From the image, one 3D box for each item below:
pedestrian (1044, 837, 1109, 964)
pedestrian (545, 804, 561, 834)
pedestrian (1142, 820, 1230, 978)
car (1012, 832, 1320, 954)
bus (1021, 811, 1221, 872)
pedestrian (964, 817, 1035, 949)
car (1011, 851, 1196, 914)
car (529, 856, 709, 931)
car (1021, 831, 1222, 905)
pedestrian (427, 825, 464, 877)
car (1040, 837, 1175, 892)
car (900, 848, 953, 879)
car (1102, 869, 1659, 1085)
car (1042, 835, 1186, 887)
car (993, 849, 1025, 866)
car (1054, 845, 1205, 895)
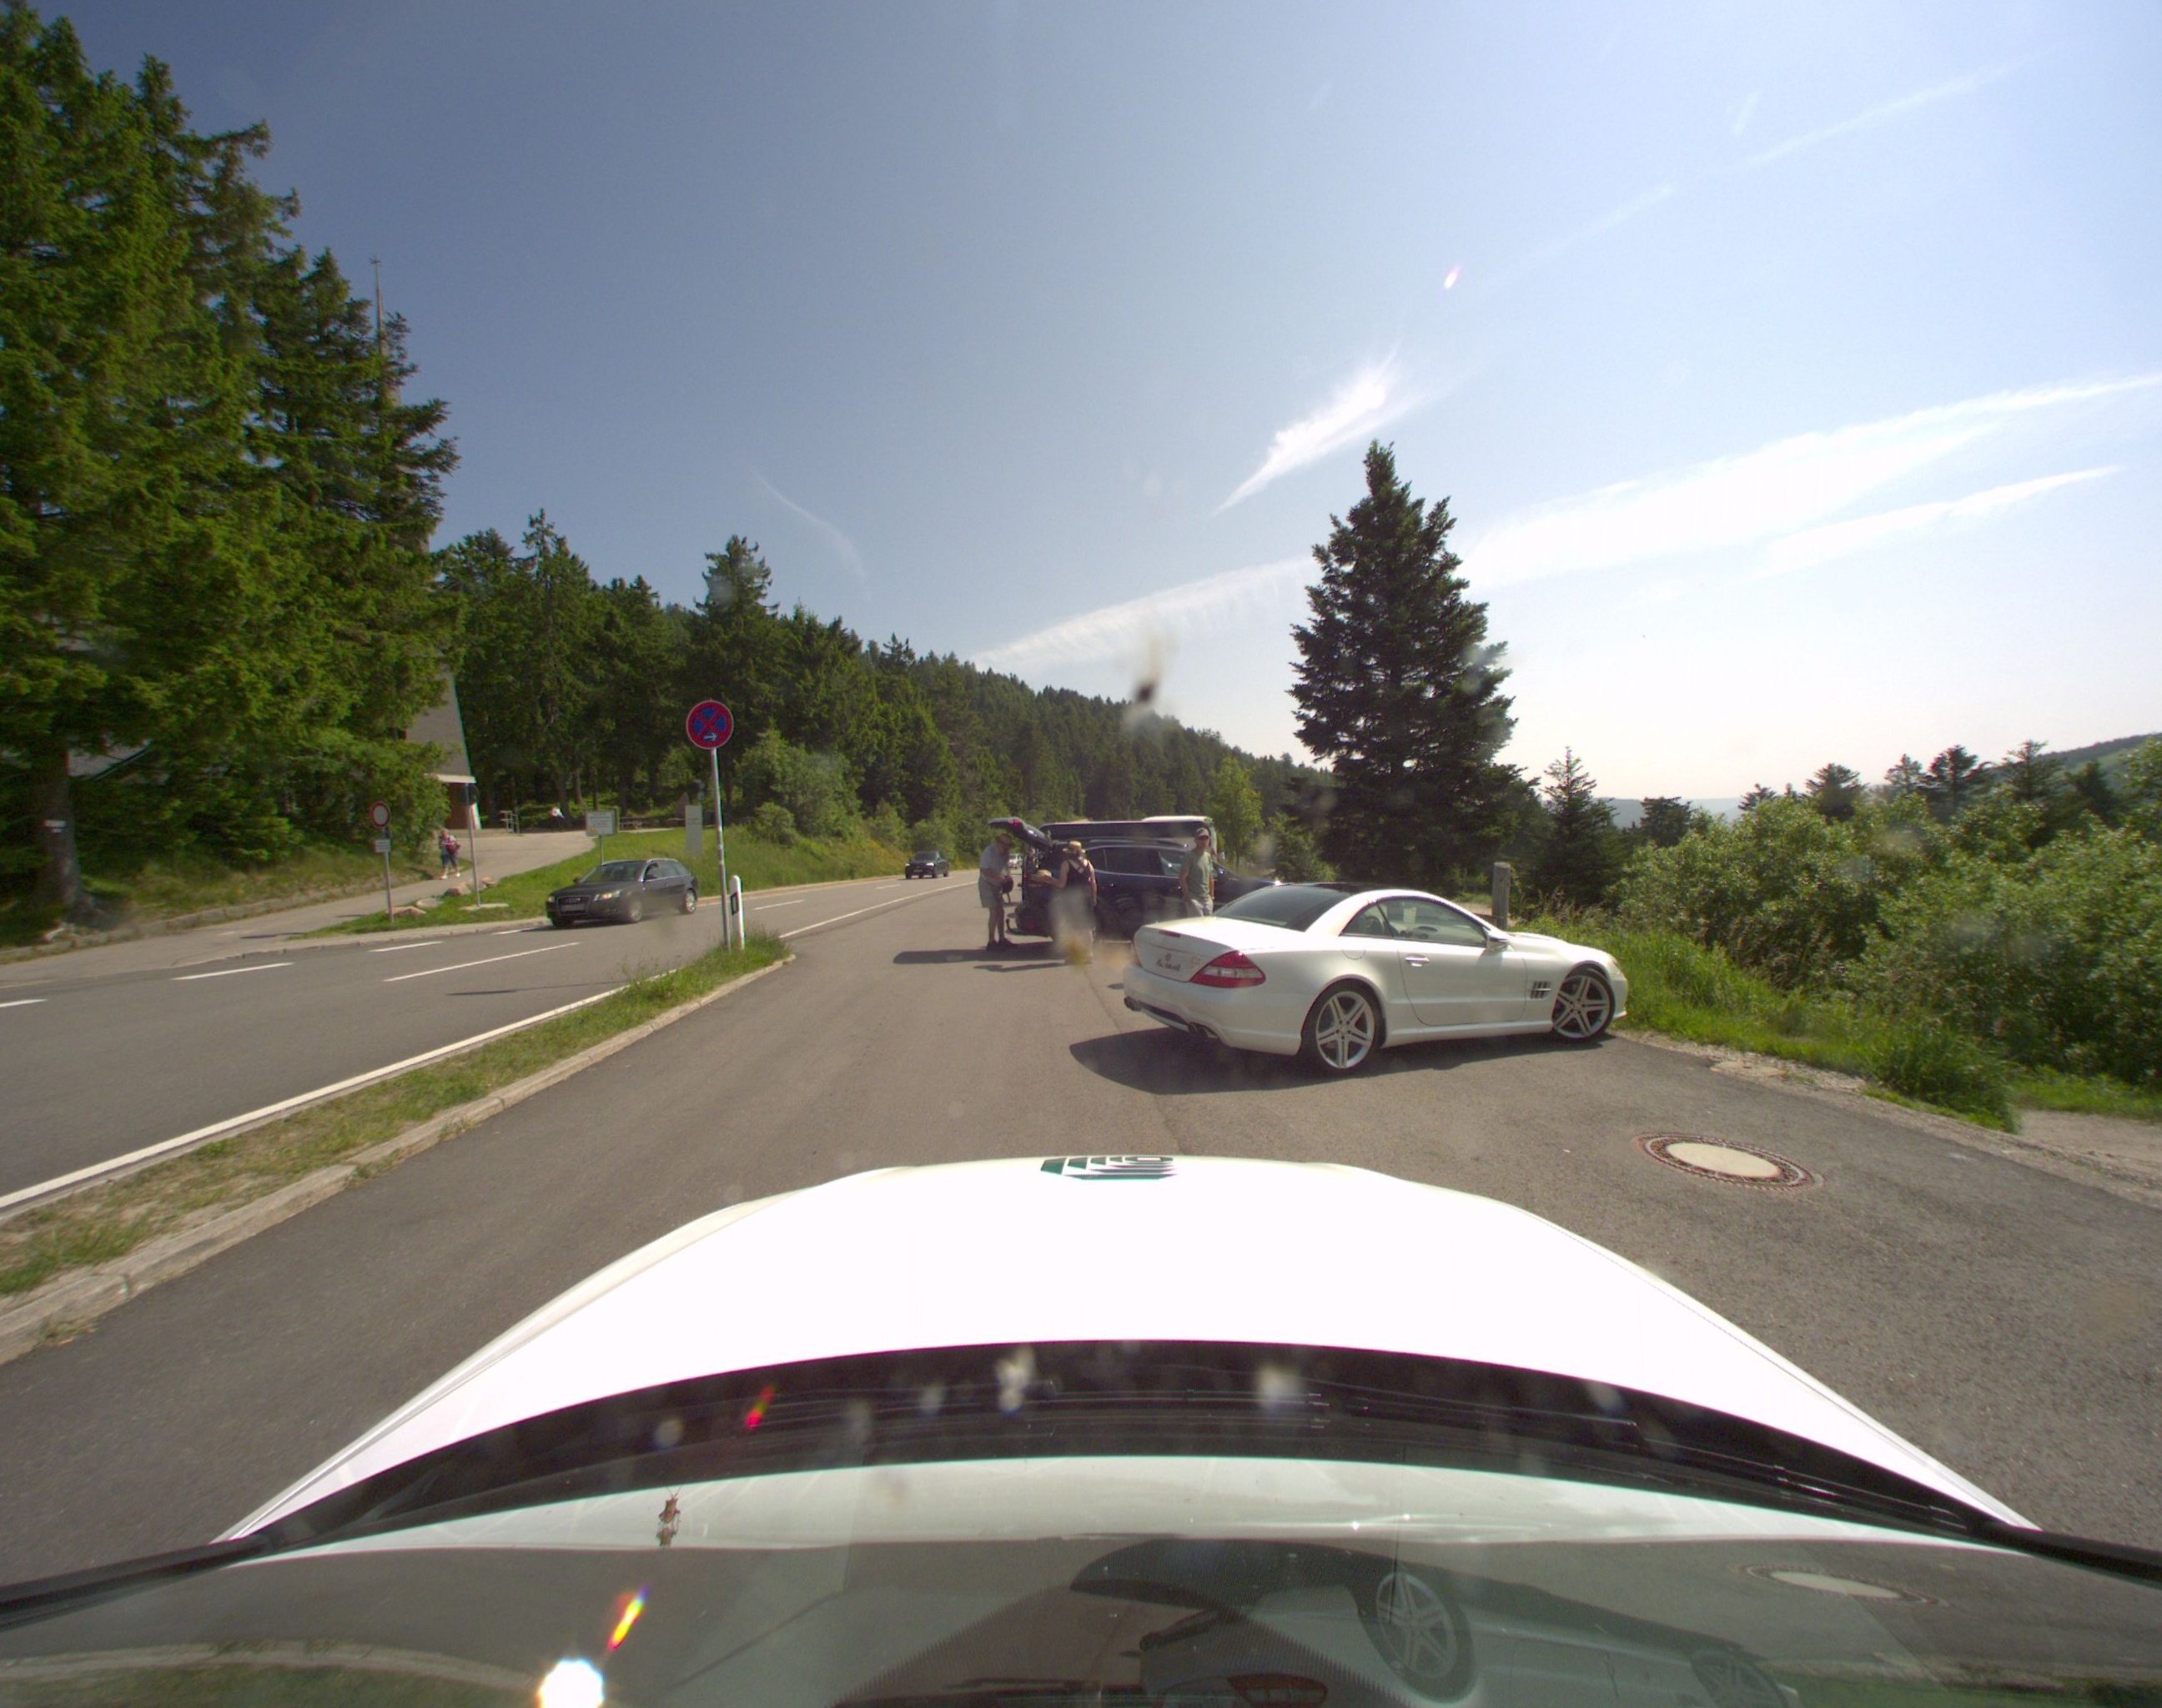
[{"bbox_3d":[-0.062,0.596,10.726,0.716,1.613,0.533,0,-1,-21],"label":"pedestrian"},{"bbox_3d":[-34.435,-2.278,53.121,0.674,1.877,0.545,-3,0,32],"label":"pedestrian"},{"bbox_3d":[1.259,0.519,9.788,0.751,1.800,0.728,0,-1,-33],"label":"pedestrian"},{"bbox_3d":[1.156,0.569,12.341,4.339,1.626,1.866,1,-1,-7],"label":"car"},{"bbox_3d":[2.757,-0.811,54.970,13.015,3.532,3.052,-2,0,9],"label":"bus"},{"bbox_3d":[-1.204,0.393,12.105,0.728,1.870,0.763,1,3,29],"label":"pedestrian"},{"bbox_3d":[0.453,0.626,18.825,4.078,1.376,1.698,0,0,-7],"label":"car"},{"bbox_3d":[-10.717,0.826,19.332,1.701,1.437,4.448,-3,1,-1],"label":"car"},{"bbox_3d":[1.034,0.336,21.149,4.931,1.695,1.946,-2,0,1],"label":"car"},{"bbox_3d":[-21.398,-0.107,27.424,0.722,1.681,0.678,-3,0,-20],"label":"pedestrian"},{"bbox_3d":[0.841,0.326,26.623,4.231,1.553,1.837,-2,0,-1],"label":"car"},{"bbox_3d":[-9.307,0.547,49.442,1.985,1.647,4.571,-3,1,3],"label":"car"},{"bbox_3d":[2.545,0.818,6.828,4.417,1.296,1.742,1,1,-24],"label":"car"},{"bbox_3d":[1.168,0.237,29.744,5.019,1.651,2.047,-2,0,-1],"label":"car"},{"bbox_3d":[-6.755,0.318,76.792,1.868,1.474,4.727,-1,0,9],"label":"car"},{"bbox_3d":[1.373,0.443,23.949,4.231,1.269,1.837,-2,0,-1],"label":"car"}]
